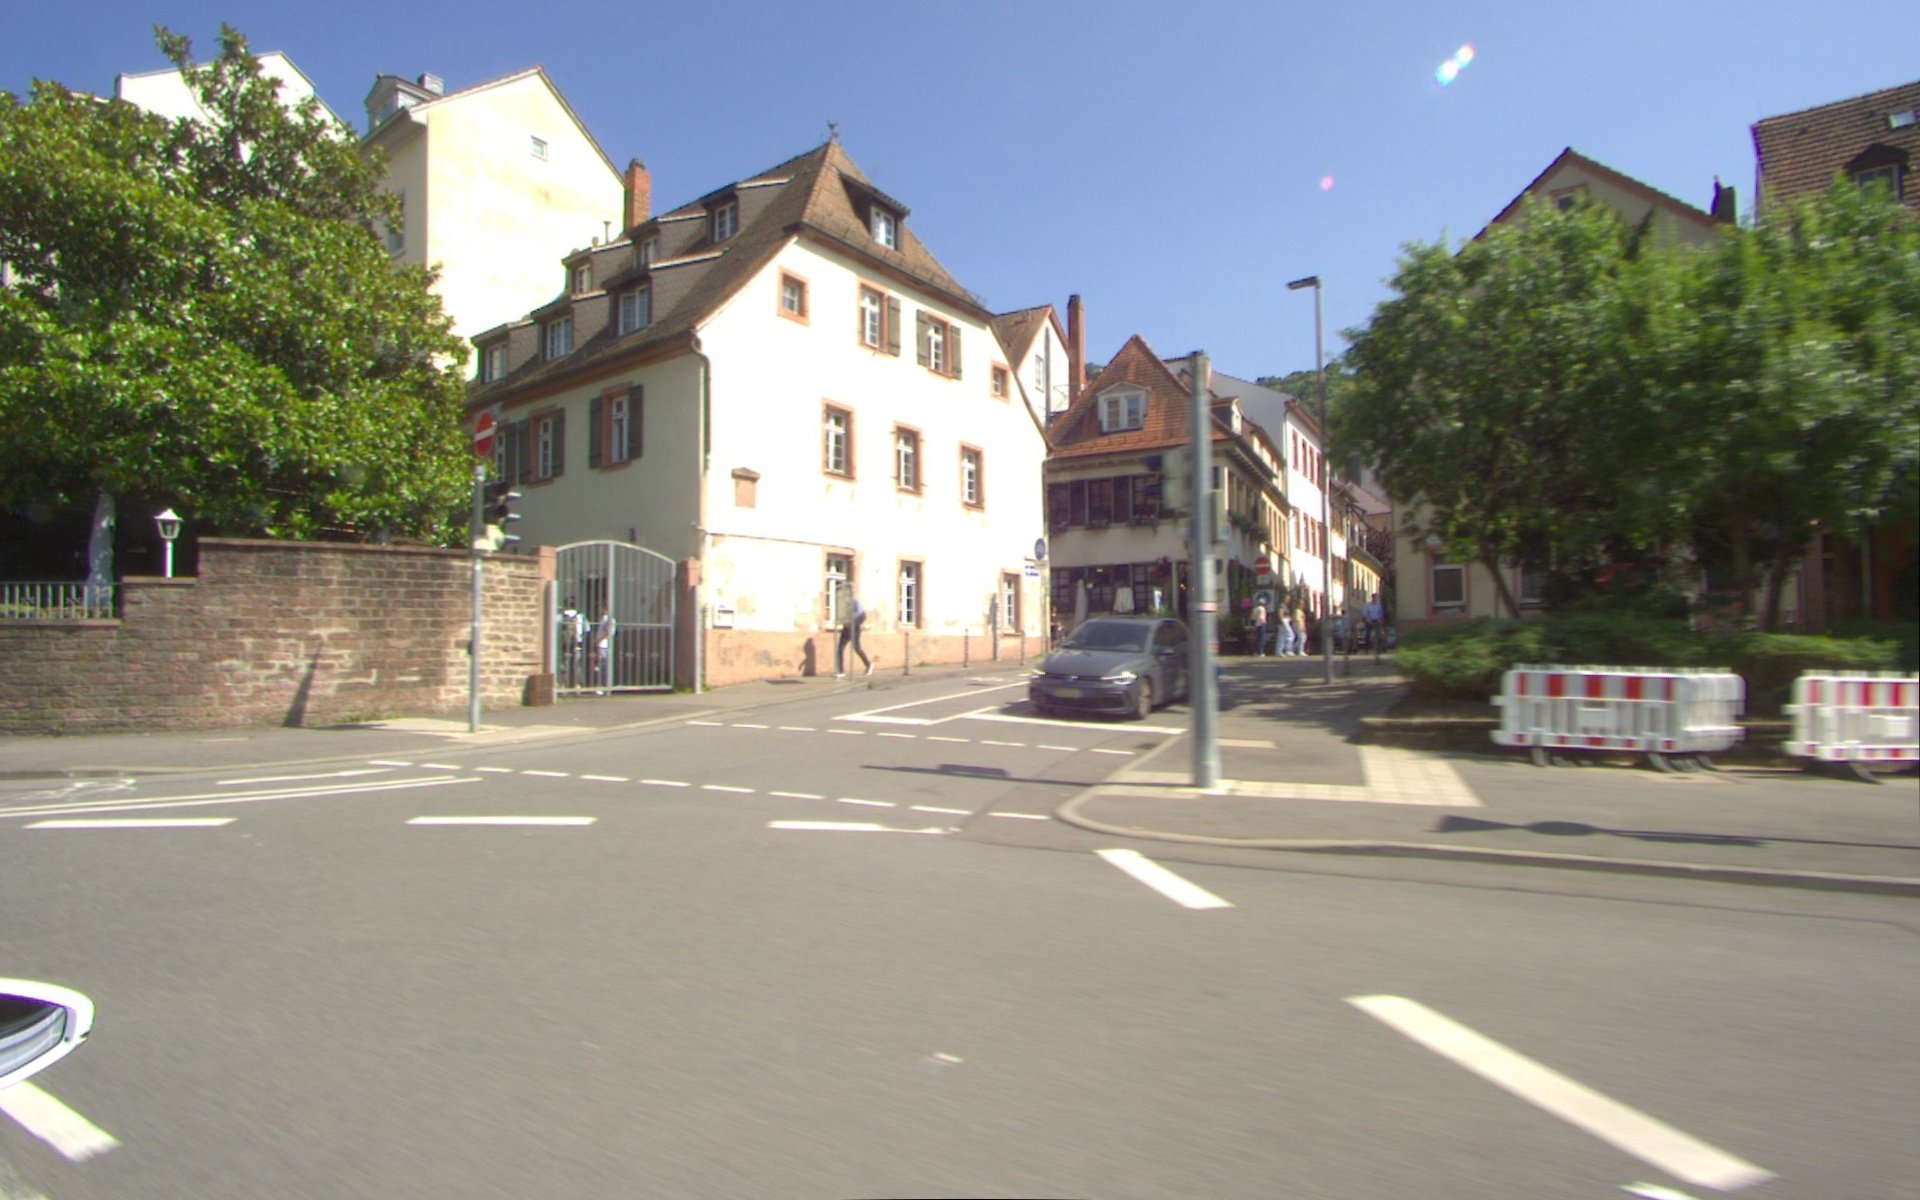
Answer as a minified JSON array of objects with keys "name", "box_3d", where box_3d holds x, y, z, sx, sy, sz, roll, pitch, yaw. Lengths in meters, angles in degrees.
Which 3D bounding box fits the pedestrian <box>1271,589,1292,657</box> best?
[{"name":"pedestrian","box_3d":[8.836,0.625,27.511,0.429,1.813,0.483,0,3,34]}]

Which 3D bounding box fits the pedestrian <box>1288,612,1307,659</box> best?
[{"name":"pedestrian","box_3d":[9.498,0.984,28.155,0.437,1.294,0.331,0,2,34]}]

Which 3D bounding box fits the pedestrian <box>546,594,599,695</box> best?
[{"name":"pedestrian","box_3d":[-6.842,0.781,17.679,0.716,1.728,0.703,1,-1,-35]}]

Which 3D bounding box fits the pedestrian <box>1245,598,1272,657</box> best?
[{"name":"pedestrian","box_3d":[8.775,0.810,29.421,0.654,1.705,0.451,0,3,34]}]

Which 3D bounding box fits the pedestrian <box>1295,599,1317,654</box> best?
[{"name":"pedestrian","box_3d":[10.247,0.782,29.664,0.501,1.598,0.414,0,3,34]}]

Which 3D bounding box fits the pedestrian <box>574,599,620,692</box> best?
[{"name":"pedestrian","box_3d":[-6.905,0.856,19.045,0.698,1.728,0.722,1,-1,-30]}]

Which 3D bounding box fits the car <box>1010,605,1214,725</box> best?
[{"name":"car","box_3d":[2.561,0.919,16.075,1.832,1.506,3.980,4,3,30]}]

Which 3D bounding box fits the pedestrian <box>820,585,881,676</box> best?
[{"name":"pedestrian","box_3d":[-2.255,0.616,20.635,0.852,1.817,0.921,0,1,35]}]
